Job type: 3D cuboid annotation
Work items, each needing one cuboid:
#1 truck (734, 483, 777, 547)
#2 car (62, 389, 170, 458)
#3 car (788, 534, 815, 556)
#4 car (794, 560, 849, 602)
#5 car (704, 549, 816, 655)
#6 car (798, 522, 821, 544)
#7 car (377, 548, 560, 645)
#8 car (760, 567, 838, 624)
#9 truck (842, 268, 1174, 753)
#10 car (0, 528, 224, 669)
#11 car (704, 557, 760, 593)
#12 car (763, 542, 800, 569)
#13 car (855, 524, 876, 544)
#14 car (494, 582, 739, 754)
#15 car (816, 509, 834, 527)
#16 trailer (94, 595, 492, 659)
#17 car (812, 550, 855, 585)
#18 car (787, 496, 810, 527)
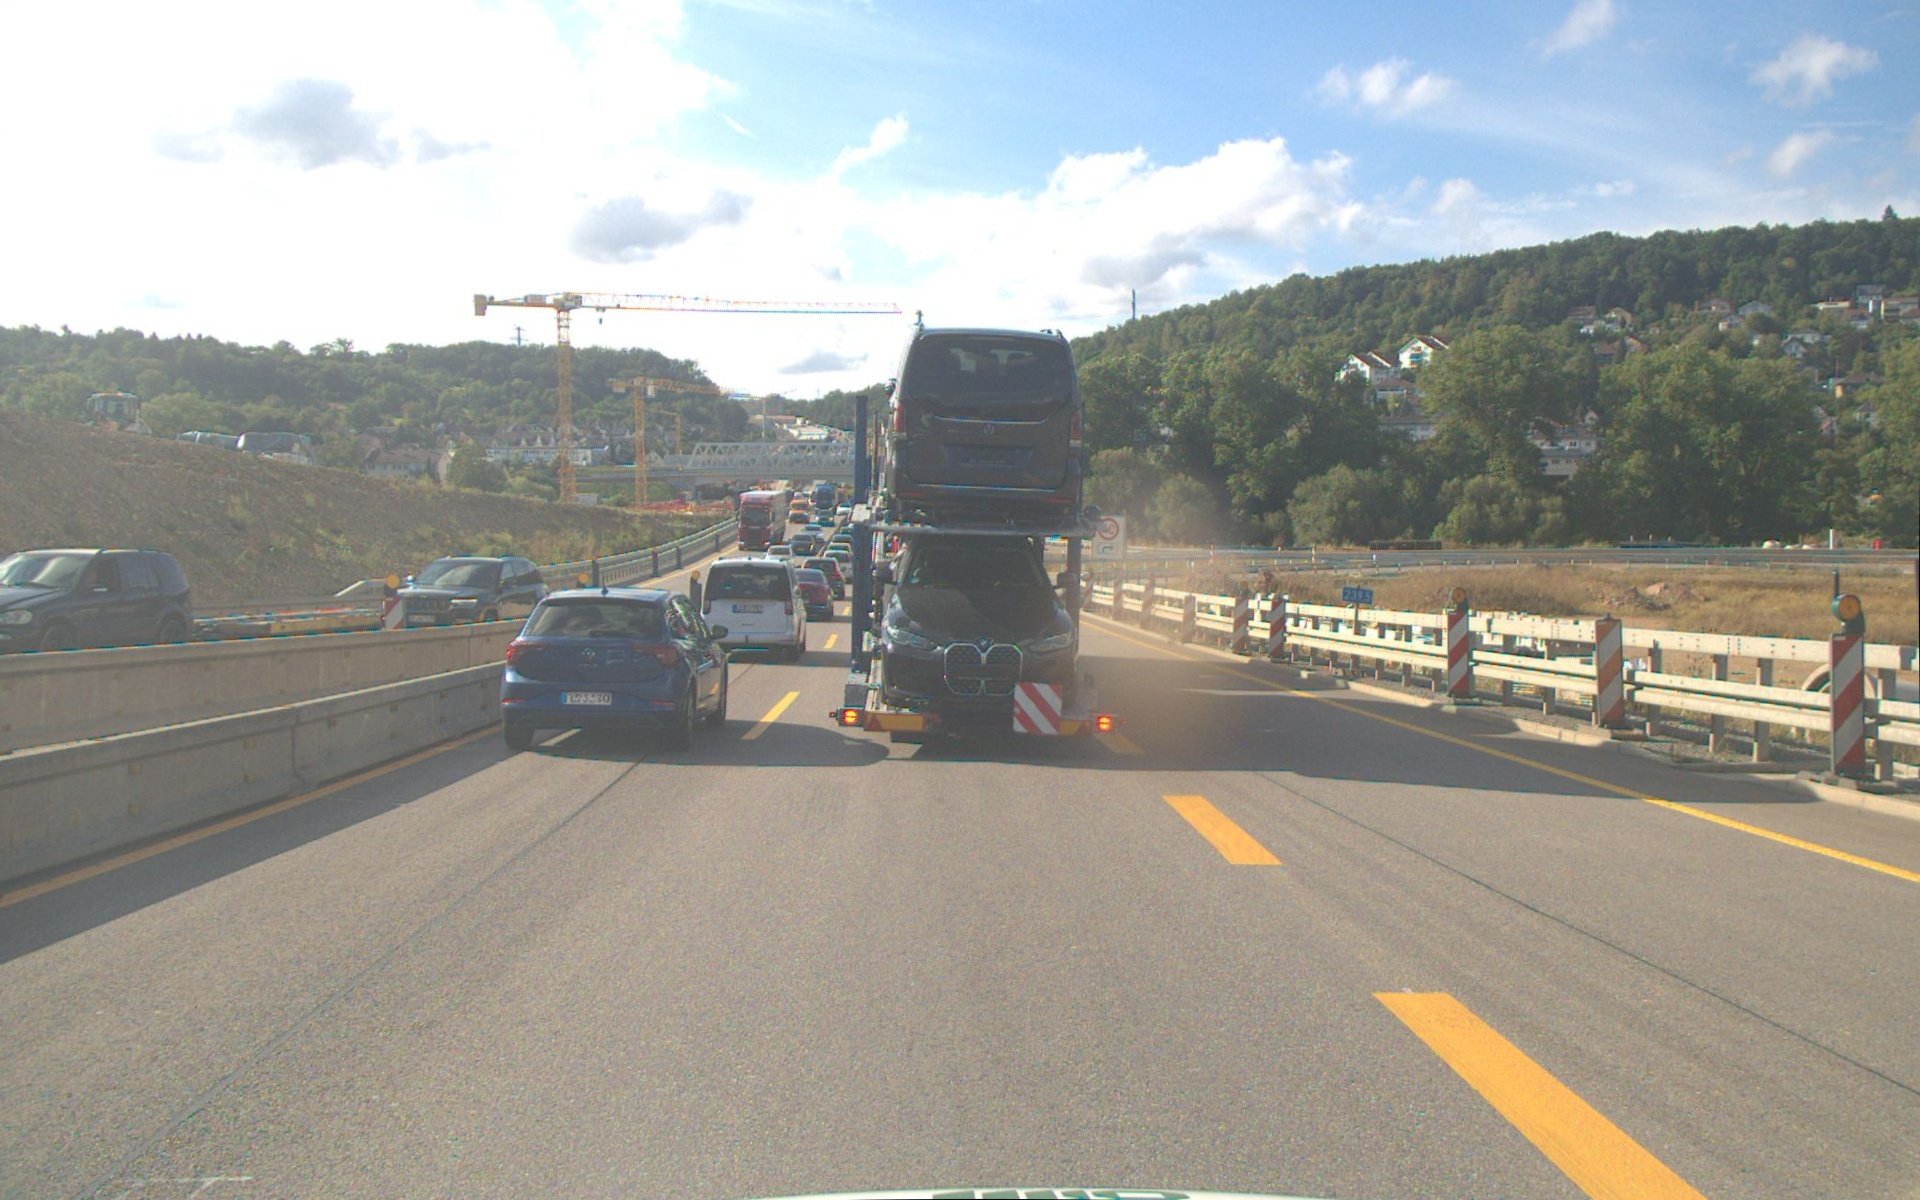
[{"bbox_3d":[-15.350,-6.324,124.349,2.858,4.463,6.280,2,1,-5],"label":"truck"},{"bbox_3d":[-35.737,-7.434,70.191,1.954,2.177,5.318,-4,0,-3],"label":"car"},{"bbox_3d":[-11.266,-3.927,117.775,1.785,1.465,4.611,1,1,-4],"label":"car"},{"bbox_3d":[-5.468,-0.727,65.566,1.953,1.579,3.998,1,-1,-2],"label":"car"},{"bbox_3d":[-3.689,0.047,31.119,1.786,1.823,3.997,1,-1,-3],"label":"car"},{"bbox_3d":[-12.459,-5.580,137.237,1.808,1.677,4.501,1,1,-5],"label":"car"},{"bbox_3d":[-9.217,-0.091,31.438,1.814,1.664,4.751,1,1,3],"label":"car"},{"bbox_3d":[-4.766,-0.120,49.540,1.953,1.584,4.400,1,-1,-1],"label":"car"},{"bbox_3d":[-0.179,-0.902,23.513,2.699,4.023,18.877,2,1,-4],"label":"truck"},{"bbox_3d":[-12.852,-0.034,23.974,1.951,1.835,4.448,1,0,7],"label":"car"},{"bbox_3d":[-9.835,-1.078,71.694,1.815,1.465,4.558,1,1,-1],"label":"car"},{"bbox_3d":[-10.205,-2.516,94.836,1.718,1.465,3.804,1,1,-1],"label":"car"},{"bbox_3d":[-8.677,-6.085,151.878,1.808,1.677,4.501,1,1,-5],"label":"car"},{"bbox_3d":[-3.214,0.596,16.203,1.687,1.447,3.998,1,0,-2],"label":"car"},{"bbox_3d":[-13.868,-8.472,170.278,1.808,1.677,4.233,1,1,-5],"label":"car"},{"bbox_3d":[-12.057,0.415,31.374,2.302,0.956,10.336,1,0,7],"label":"trailer"},{"bbox_3d":[-6.364,-1.661,83.379,1.953,1.695,3.999,1,1,-2],"label":"car"},{"bbox_3d":[-17.420,-9.532,178.554,1.953,2.930,6.062,1,0,-1],"label":"car"}]
